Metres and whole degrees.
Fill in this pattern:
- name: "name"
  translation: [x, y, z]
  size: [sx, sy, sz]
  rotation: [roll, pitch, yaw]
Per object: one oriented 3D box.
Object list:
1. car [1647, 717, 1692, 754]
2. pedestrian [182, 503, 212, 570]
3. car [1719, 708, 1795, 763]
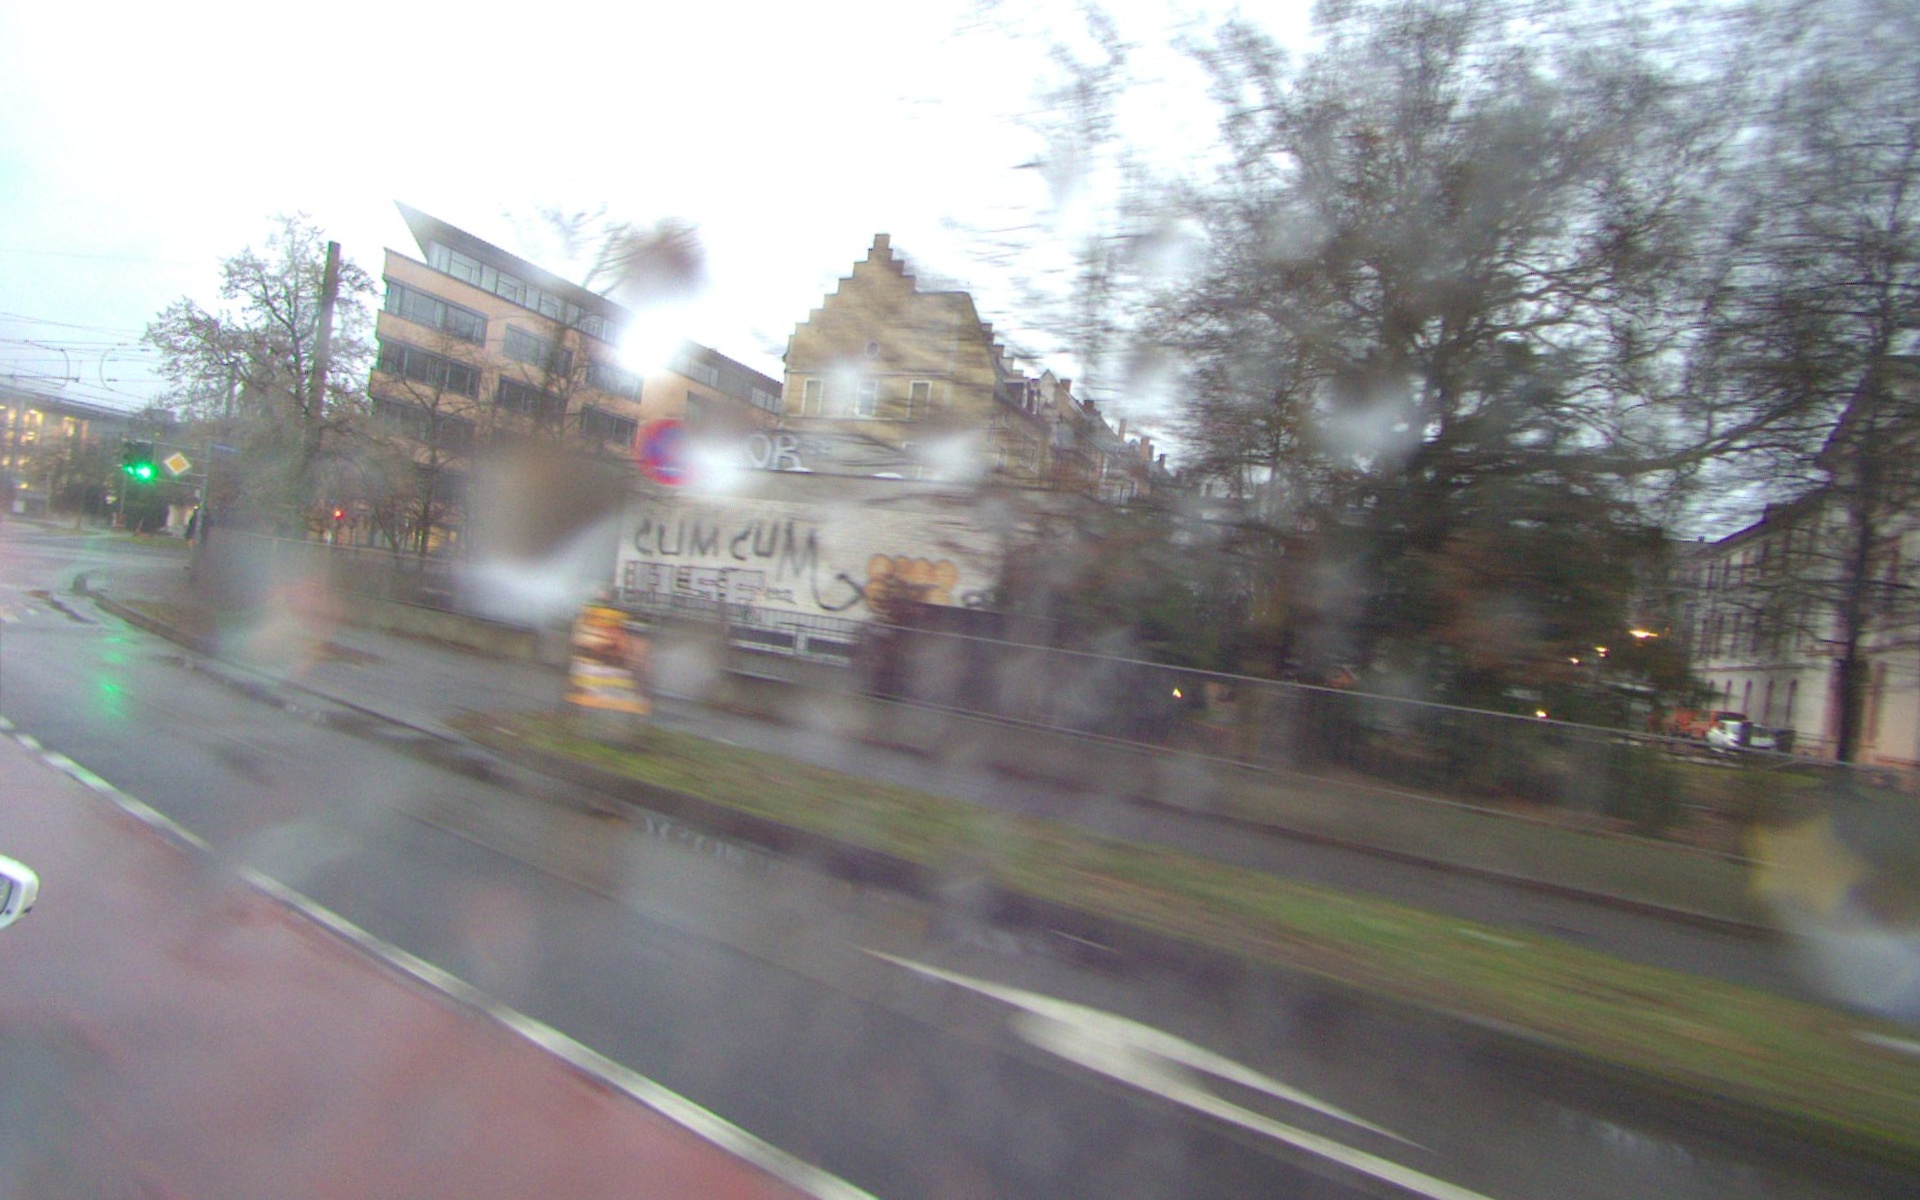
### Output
- name: "car"
  translation: [43.724, 8.318, 62.084]
  size: [1.832, 1.941, 4.094]
  rotation: [6, -3, 32]
- name: "pedestrian"
  translation: [-22.253, -1.859, 29.341]
  size: [0.569, 1.863, 0.675]
  rotation: [5, 3, -38]
- name: "car"
  translation: [33.162, 5.625, 41.968]
  size: [1.832, 1.941, 4.094]
  rotation: [6, -3, 32]
